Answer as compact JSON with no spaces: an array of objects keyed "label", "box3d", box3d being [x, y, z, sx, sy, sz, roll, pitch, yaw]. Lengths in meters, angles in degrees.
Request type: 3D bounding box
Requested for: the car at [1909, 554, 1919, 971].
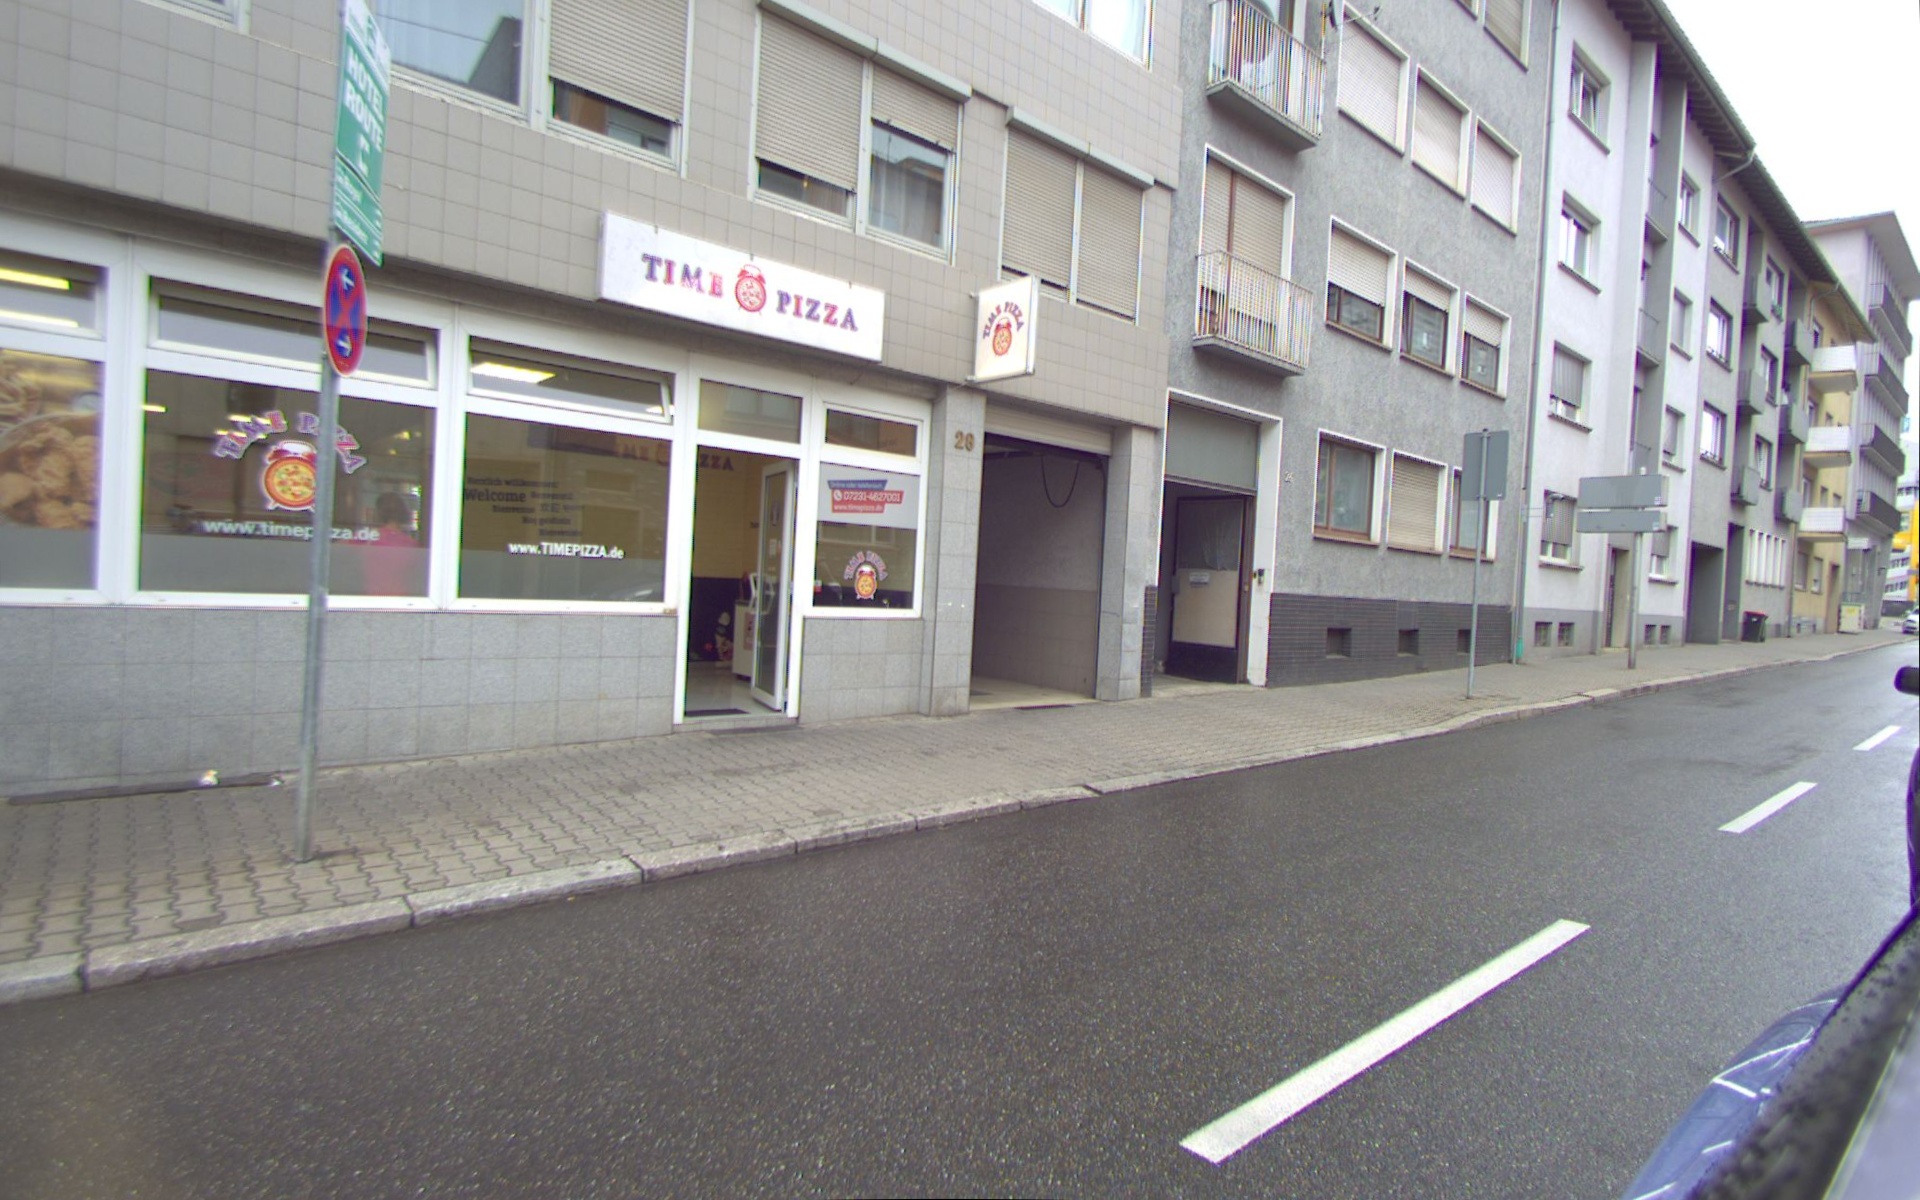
[{"label":"car","box3d":[6.096,0.661,4.956,4.144,1.743,1.697,-1,0,-41]}]
